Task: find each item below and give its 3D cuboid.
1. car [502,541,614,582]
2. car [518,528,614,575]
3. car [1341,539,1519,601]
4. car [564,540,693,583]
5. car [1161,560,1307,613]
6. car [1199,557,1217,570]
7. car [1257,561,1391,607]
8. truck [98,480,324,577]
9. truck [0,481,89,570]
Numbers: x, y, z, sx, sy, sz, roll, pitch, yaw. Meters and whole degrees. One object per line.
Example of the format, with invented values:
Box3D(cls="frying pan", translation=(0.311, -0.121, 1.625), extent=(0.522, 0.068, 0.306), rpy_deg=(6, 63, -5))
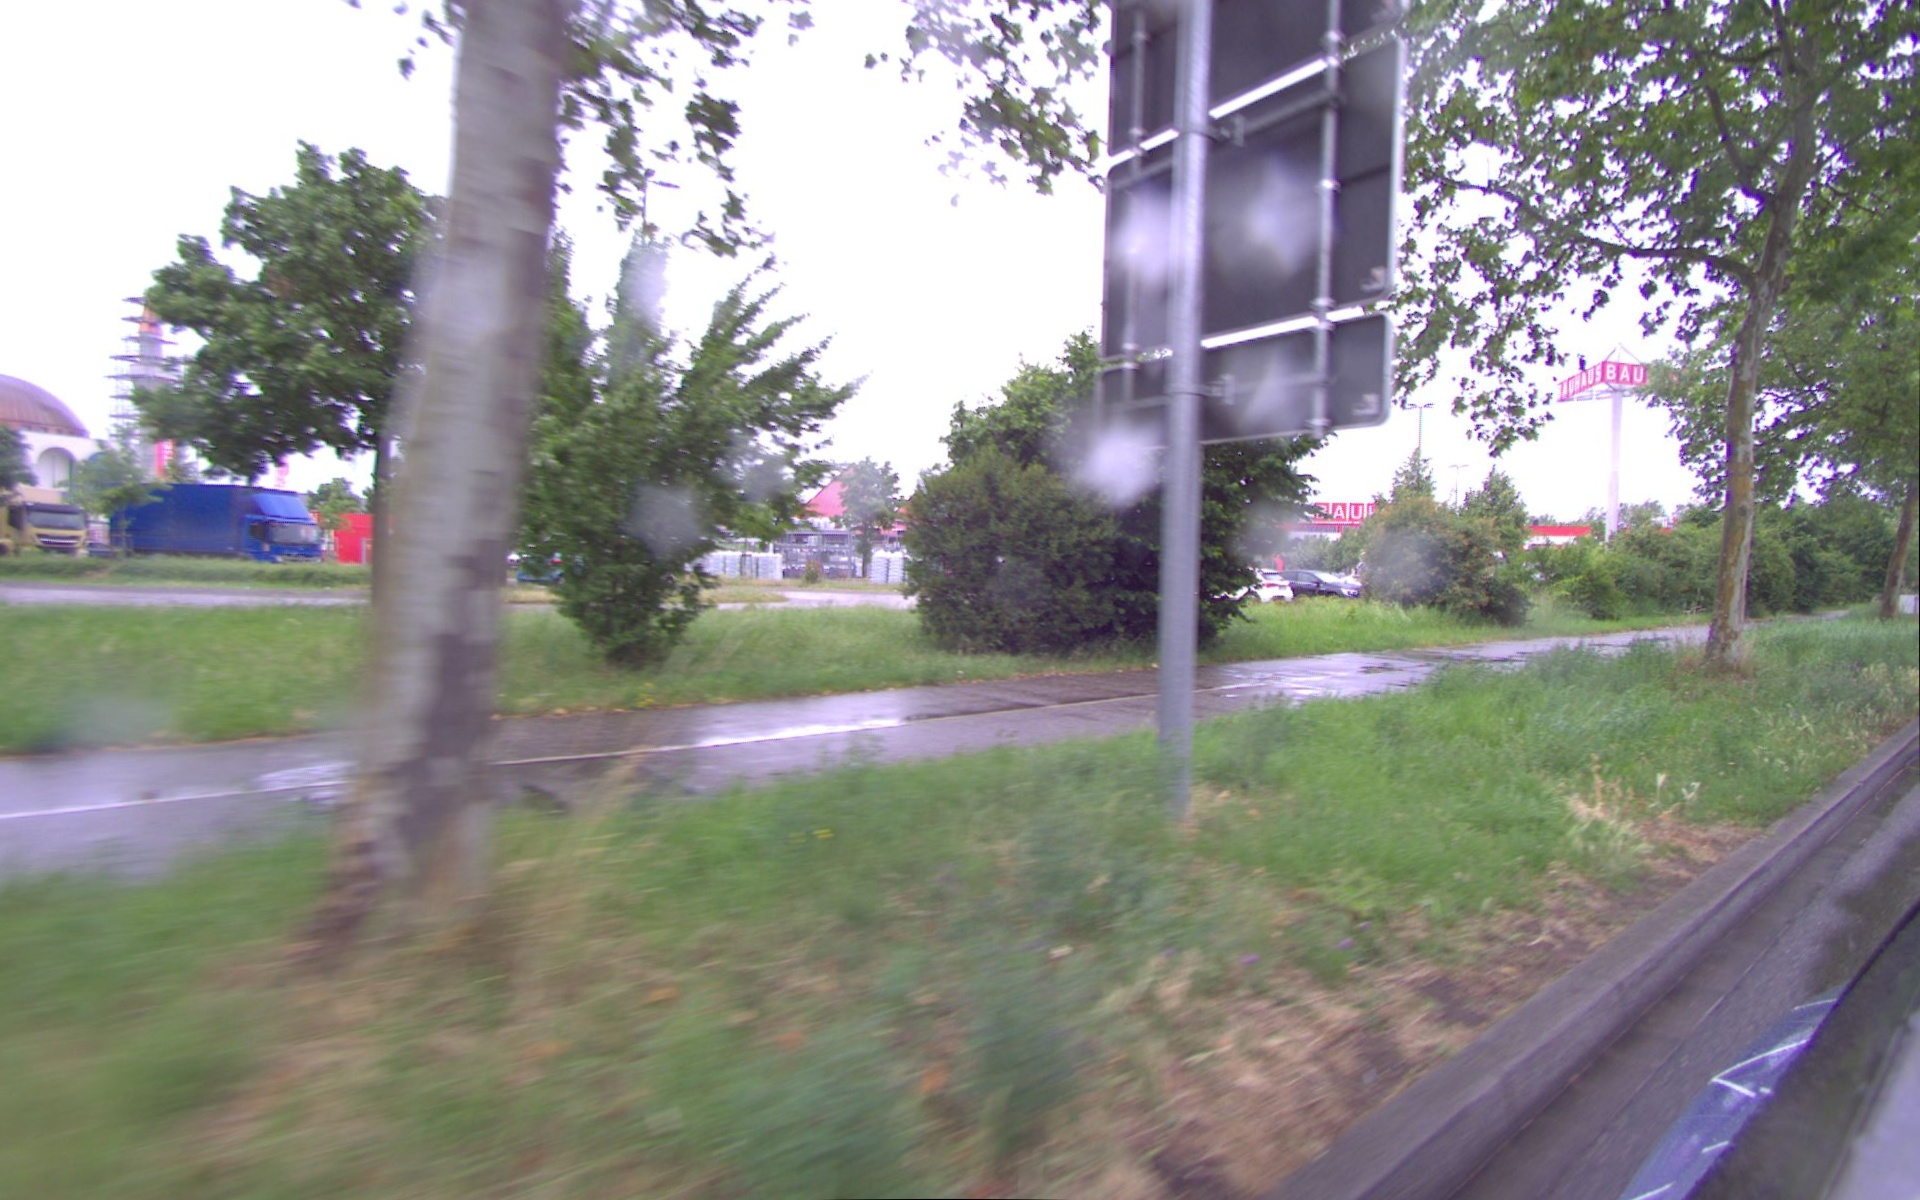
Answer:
Box3D(cls="car", translation=(-13.851, -1.350, 35.143), extent=(1.838, 1.308, 4.041), rpy_deg=(2, 3, 9))
Box3D(cls="car", translation=(-21.204, -2.622, 54.792), extent=(2.295, 2.390, 5.500), rpy_deg=(1, 2, 11))
Box3D(cls="car", translation=(19.656, -1.324, 42.582), extent=(6.399, 2.391, 2.357), rpy_deg=(3, 3, 41))
Box3D(cls="car", translation=(-10.907, -1.271, 33.552), extent=(1.850, 1.308, 4.015), rpy_deg=(2, 3, 25))
Box3D(cls="car", translation=(8.949, -0.498, 33.301), extent=(1.899, 1.571, 4.262), rpy_deg=(-1, 3, -45))
Box3D(cls="car", translation=(33.732, -4.944, 137.796), extent=(1.906, 1.747, 4.246), rpy_deg=(2, 2, 20))
Box3D(cls="car", translation=(13.410, -0.637, 37.423), extent=(1.899, 1.571, 4.262), rpy_deg=(-1, 3, -45))
Box3D(cls="truck", translation=(-28.780, -2.736, 38.918), extent=(7.899, 3.513, 2.542), rpy_deg=(2, 1, 14))
Box3D(cls="truck", translation=(-41.827, -3.093, 43.143), extent=(9.269, 3.513, 2.540), rpy_deg=(1, 1, 17))
